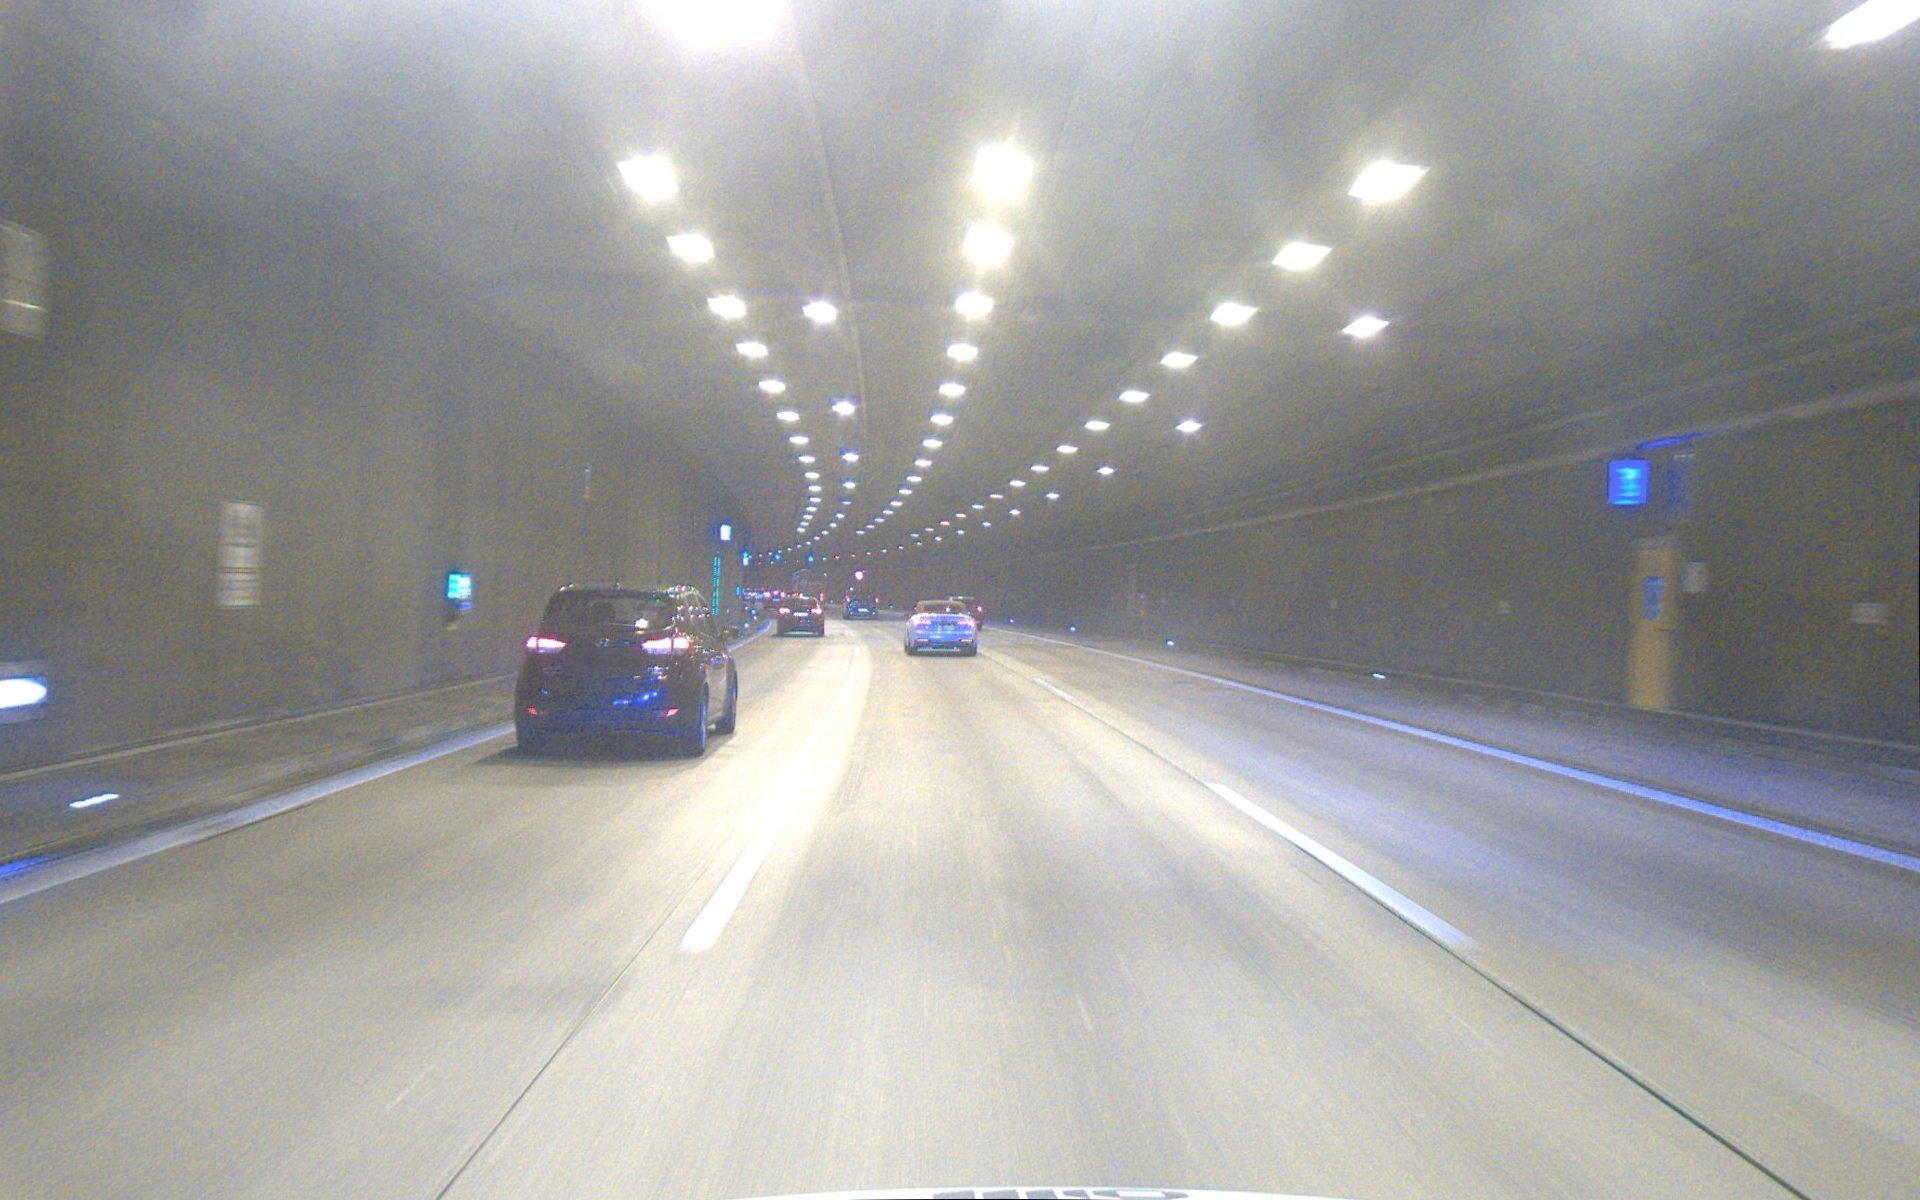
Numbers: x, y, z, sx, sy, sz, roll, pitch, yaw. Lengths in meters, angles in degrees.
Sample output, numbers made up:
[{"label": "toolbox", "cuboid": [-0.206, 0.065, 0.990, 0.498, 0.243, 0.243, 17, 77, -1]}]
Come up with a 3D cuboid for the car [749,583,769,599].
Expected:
[{"label": "car", "cuboid": [-23.353, -0.988, 192.221, 1.959, 1.785, 3.988, 1, 0, -12]}]

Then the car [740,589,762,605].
[{"label": "car", "cuboid": [-21.726, -0.319, 171.848, 1.959, 1.557, 3.987, 1, 0, -13]}]

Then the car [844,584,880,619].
[{"label": "car", "cuboid": [-5.708, 0.075, 96.043, 1.955, 2.006, 3.996, 0, 0, -5]}]

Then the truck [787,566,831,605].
[{"label": "truck", "cuboid": [-13.186, -1.292, 143.365, 3.026, 3.167, 10.007, 1, 1, -9]}]

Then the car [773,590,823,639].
[{"label": "car", "cuboid": [-5.939, 0.511, 60.668, 1.765, 1.713, 3.995, 0, 0, -6]}]

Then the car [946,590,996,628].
[{"label": "car", "cuboid": [0.463, 0.387, 74.299, 1.804, 1.630, 3.995, 0, 0, -6]}]

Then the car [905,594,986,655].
[{"label": "car", "cuboid": [-0.427, 0.617, 43.436, 1.954, 1.509, 3.998, 0, 0, -3]}]

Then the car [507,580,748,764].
[{"label": "car", "cuboid": [-3.193, 0.637, 16.566, 1.749, 1.626, 3.800, 0, 0, -2]}]
